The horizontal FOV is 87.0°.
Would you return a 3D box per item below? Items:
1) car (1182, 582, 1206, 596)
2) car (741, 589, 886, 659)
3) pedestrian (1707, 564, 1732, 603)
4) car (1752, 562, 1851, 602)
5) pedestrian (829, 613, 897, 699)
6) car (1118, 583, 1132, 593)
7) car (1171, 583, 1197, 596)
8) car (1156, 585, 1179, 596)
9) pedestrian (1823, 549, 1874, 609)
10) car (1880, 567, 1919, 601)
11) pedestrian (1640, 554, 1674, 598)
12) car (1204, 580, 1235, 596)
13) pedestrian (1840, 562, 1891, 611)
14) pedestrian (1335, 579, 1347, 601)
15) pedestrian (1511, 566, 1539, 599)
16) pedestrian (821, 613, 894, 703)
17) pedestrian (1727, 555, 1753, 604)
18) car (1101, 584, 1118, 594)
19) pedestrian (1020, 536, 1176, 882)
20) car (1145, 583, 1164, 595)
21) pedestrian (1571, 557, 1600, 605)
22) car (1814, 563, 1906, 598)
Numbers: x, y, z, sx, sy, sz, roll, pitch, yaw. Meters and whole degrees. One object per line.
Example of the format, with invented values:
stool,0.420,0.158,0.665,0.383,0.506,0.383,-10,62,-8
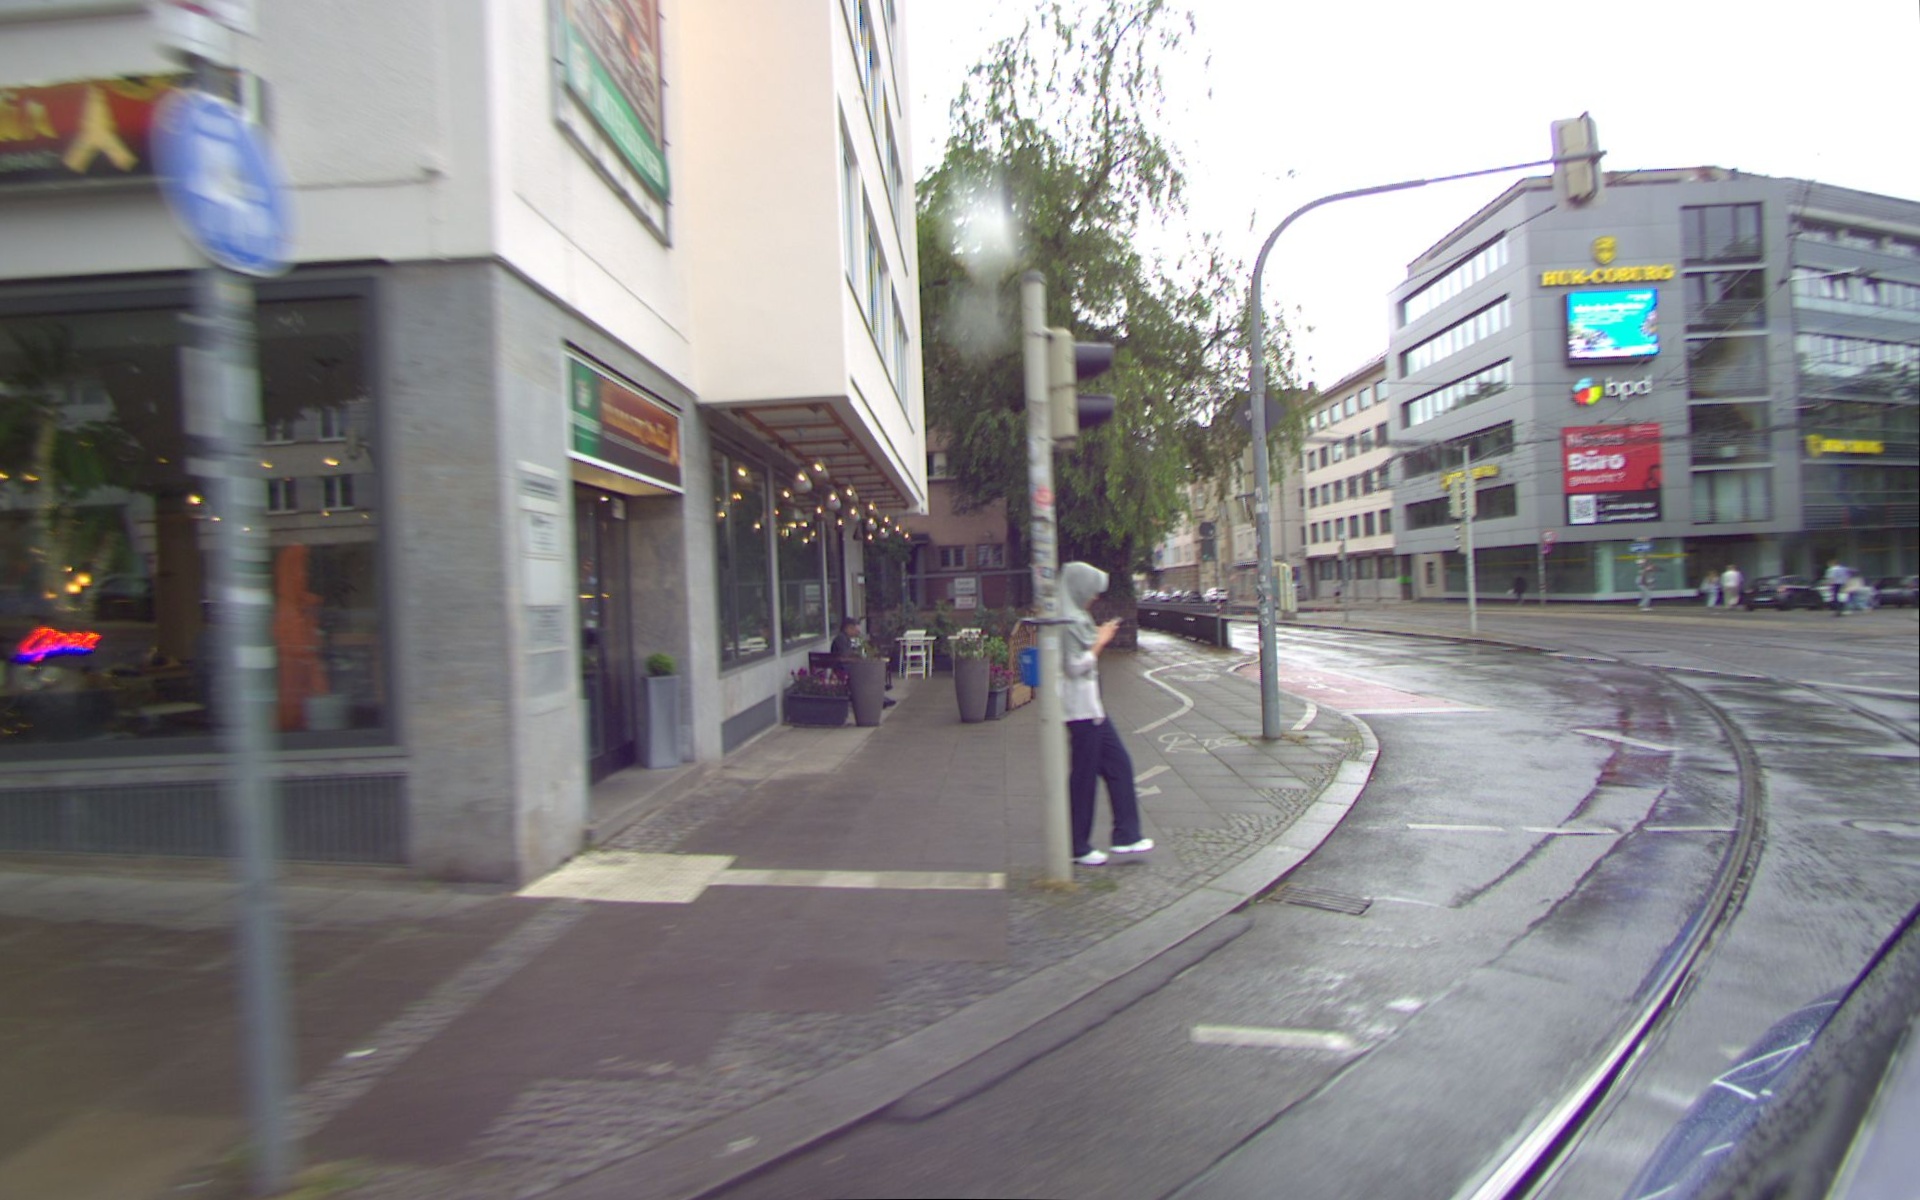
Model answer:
car,26.115,-1.235,112.992,1.709,1.474,4.170,1,1,1
car,-3.428,0.536,24.071,3.136,1.525,1.800,-1,1,3
pedestrian,33.093,-0.728,44.100,0.581,1.613,0.632,-4,0,19
car,35.563,-0.772,42.754,3.664,1.570,1.706,-2,1,-23
pedestrian,-1.400,0.801,14.696,0.901,1.206,0.568,-1,0,2
car,27.426,-2.009,168.560,1.810,1.561,4.226,-1,1,2
car,26.176,-1.198,118.277,1.962,1.474,5.021,1,1,1
car,26.392,-1.206,128.953,1.963,1.415,5.020,1,1,2
pedestrian,29.322,-0.692,33.425,0.903,1.886,0.995,-4,0,24
car,43.553,-0.759,45.674,3.665,1.472,1.705,-2,1,-25
pedestrian,30.791,-1.057,44.717,0.960,1.838,0.659,-4,0,19
car,25.914,-1.176,101.257,1.962,1.555,4.748,1,1,1
pedestrian,31.263,-0.463,34.932,0.983,1.613,0.915,-4,0,-24
pedestrian,28.521,-0.763,75.792,0.538,1.632,0.798,-5,0,4
pedestrian,28.808,-0.899,51.598,0.949,1.613,0.588,-4,0,3
pedestrian,-1.412,0.792,14.054,0.915,1.206,0.635,-1,0,2
pedestrian,33.300,-0.880,43.206,0.651,2.038,0.616,-4,0,-37
car,23.996,-1.797,162.434,1.908,1.555,4.351,1,1,-2
pedestrian,0.760,0.540,5.503,0.526,1.734,0.696,-1,0,40
car,26.914,-1.579,139.994,1.809,1.625,4.228,-1,1,0
pedestrian,27.268,-0.836,44.127,0.651,2.038,0.810,-4,0,4
car,39.411,-0.860,44.316,3.665,1.472,1.705,-2,1,-25
